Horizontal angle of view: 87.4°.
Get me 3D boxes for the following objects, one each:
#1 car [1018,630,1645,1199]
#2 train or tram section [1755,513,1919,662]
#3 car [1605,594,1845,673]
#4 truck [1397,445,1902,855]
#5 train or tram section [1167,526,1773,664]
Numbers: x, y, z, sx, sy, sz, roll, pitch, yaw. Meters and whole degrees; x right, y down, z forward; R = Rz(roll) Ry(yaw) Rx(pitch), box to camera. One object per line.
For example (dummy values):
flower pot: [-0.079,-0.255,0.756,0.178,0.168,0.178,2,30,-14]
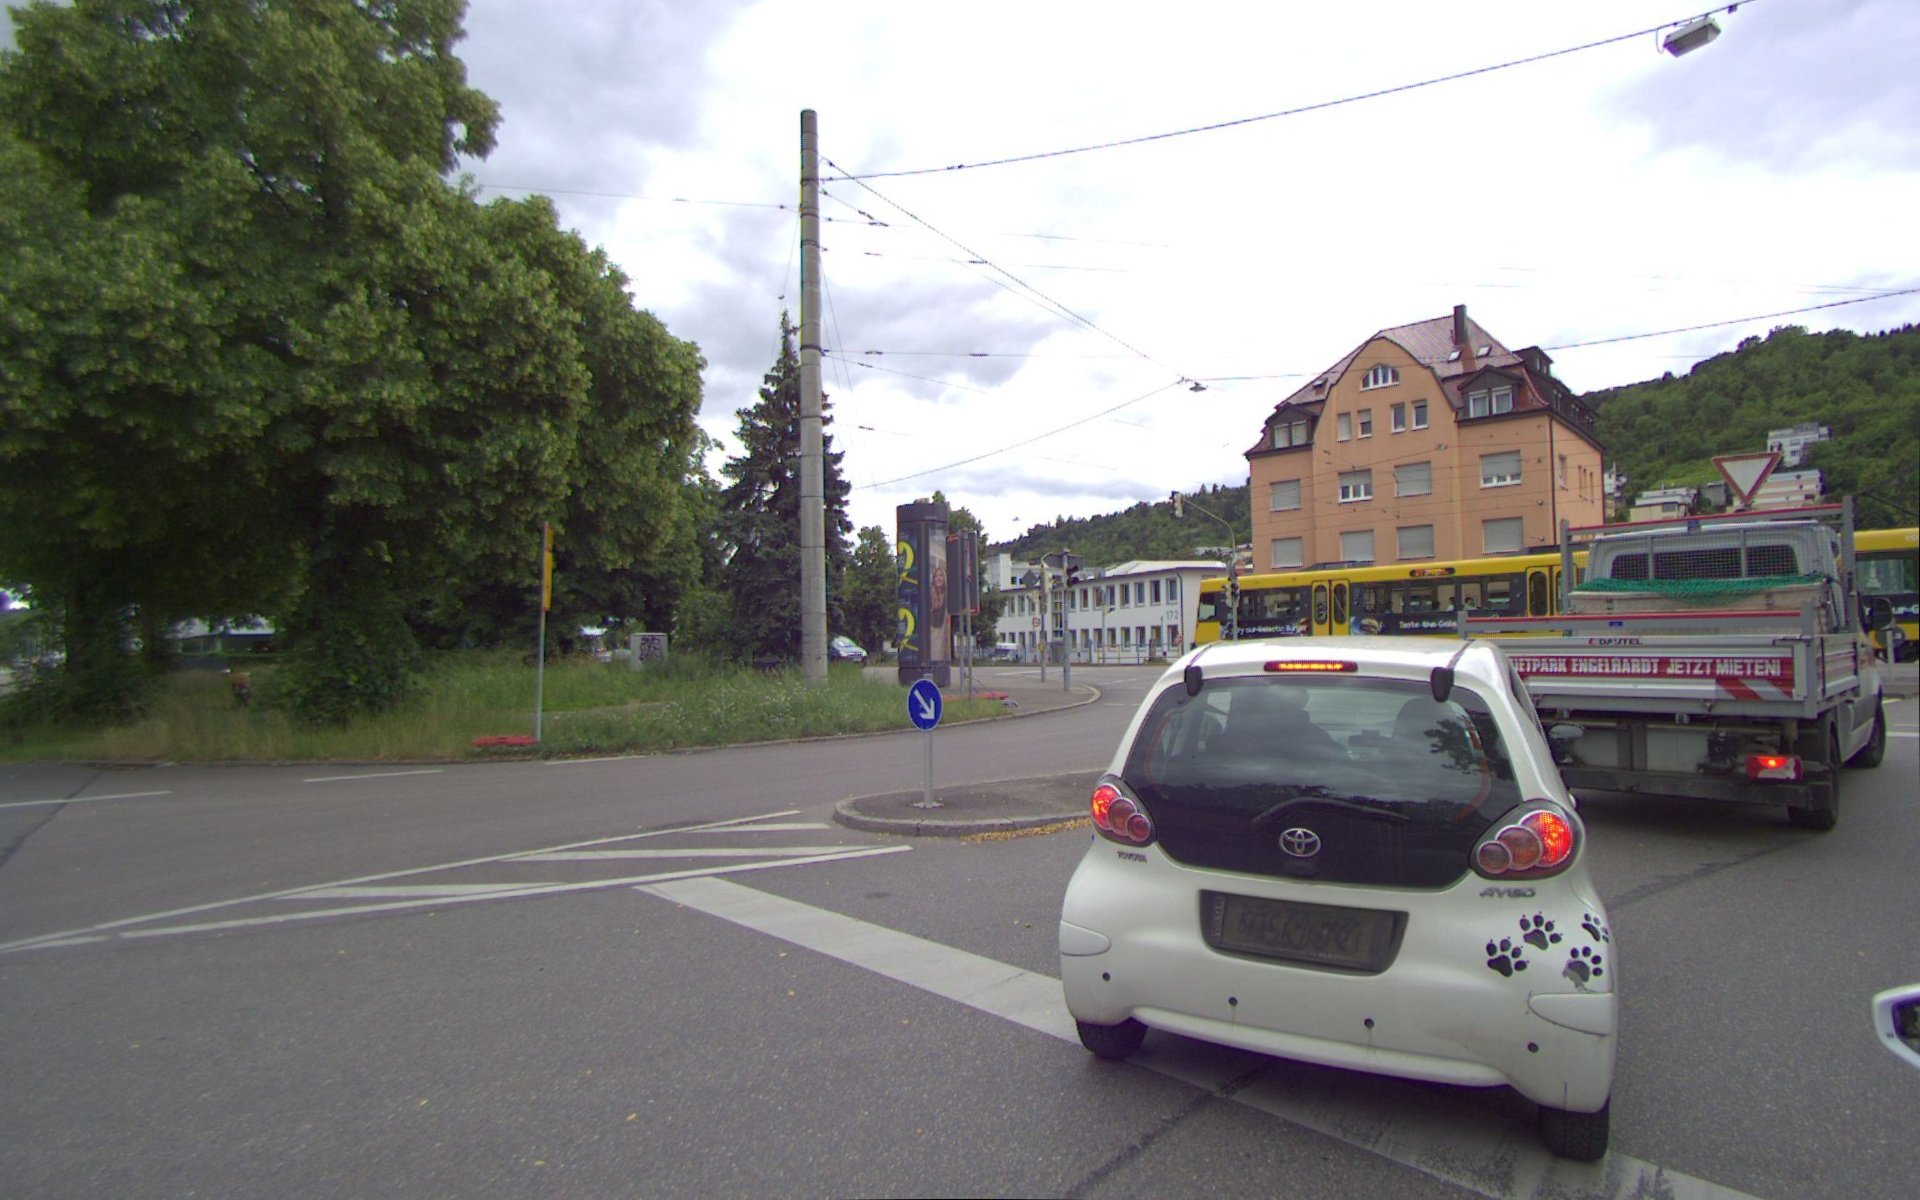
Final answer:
car: [1.727,0.886,4.318,1.615,1.451,3.426,-3,-3,28]
train or tram section: [29.809,-0.609,22.272,18.900,3.714,3.261,-4,-3,42]
car: [16.896,0.782,22.301,4.068,1.605,1.793,-4,-3,42]
truck: [6.388,0.390,8.891,5.986,2.429,2.399,1,-4,-43]
train or tram section: [16.223,0.307,35.346,3.256,3.713,18.926,1,-3,-44]
